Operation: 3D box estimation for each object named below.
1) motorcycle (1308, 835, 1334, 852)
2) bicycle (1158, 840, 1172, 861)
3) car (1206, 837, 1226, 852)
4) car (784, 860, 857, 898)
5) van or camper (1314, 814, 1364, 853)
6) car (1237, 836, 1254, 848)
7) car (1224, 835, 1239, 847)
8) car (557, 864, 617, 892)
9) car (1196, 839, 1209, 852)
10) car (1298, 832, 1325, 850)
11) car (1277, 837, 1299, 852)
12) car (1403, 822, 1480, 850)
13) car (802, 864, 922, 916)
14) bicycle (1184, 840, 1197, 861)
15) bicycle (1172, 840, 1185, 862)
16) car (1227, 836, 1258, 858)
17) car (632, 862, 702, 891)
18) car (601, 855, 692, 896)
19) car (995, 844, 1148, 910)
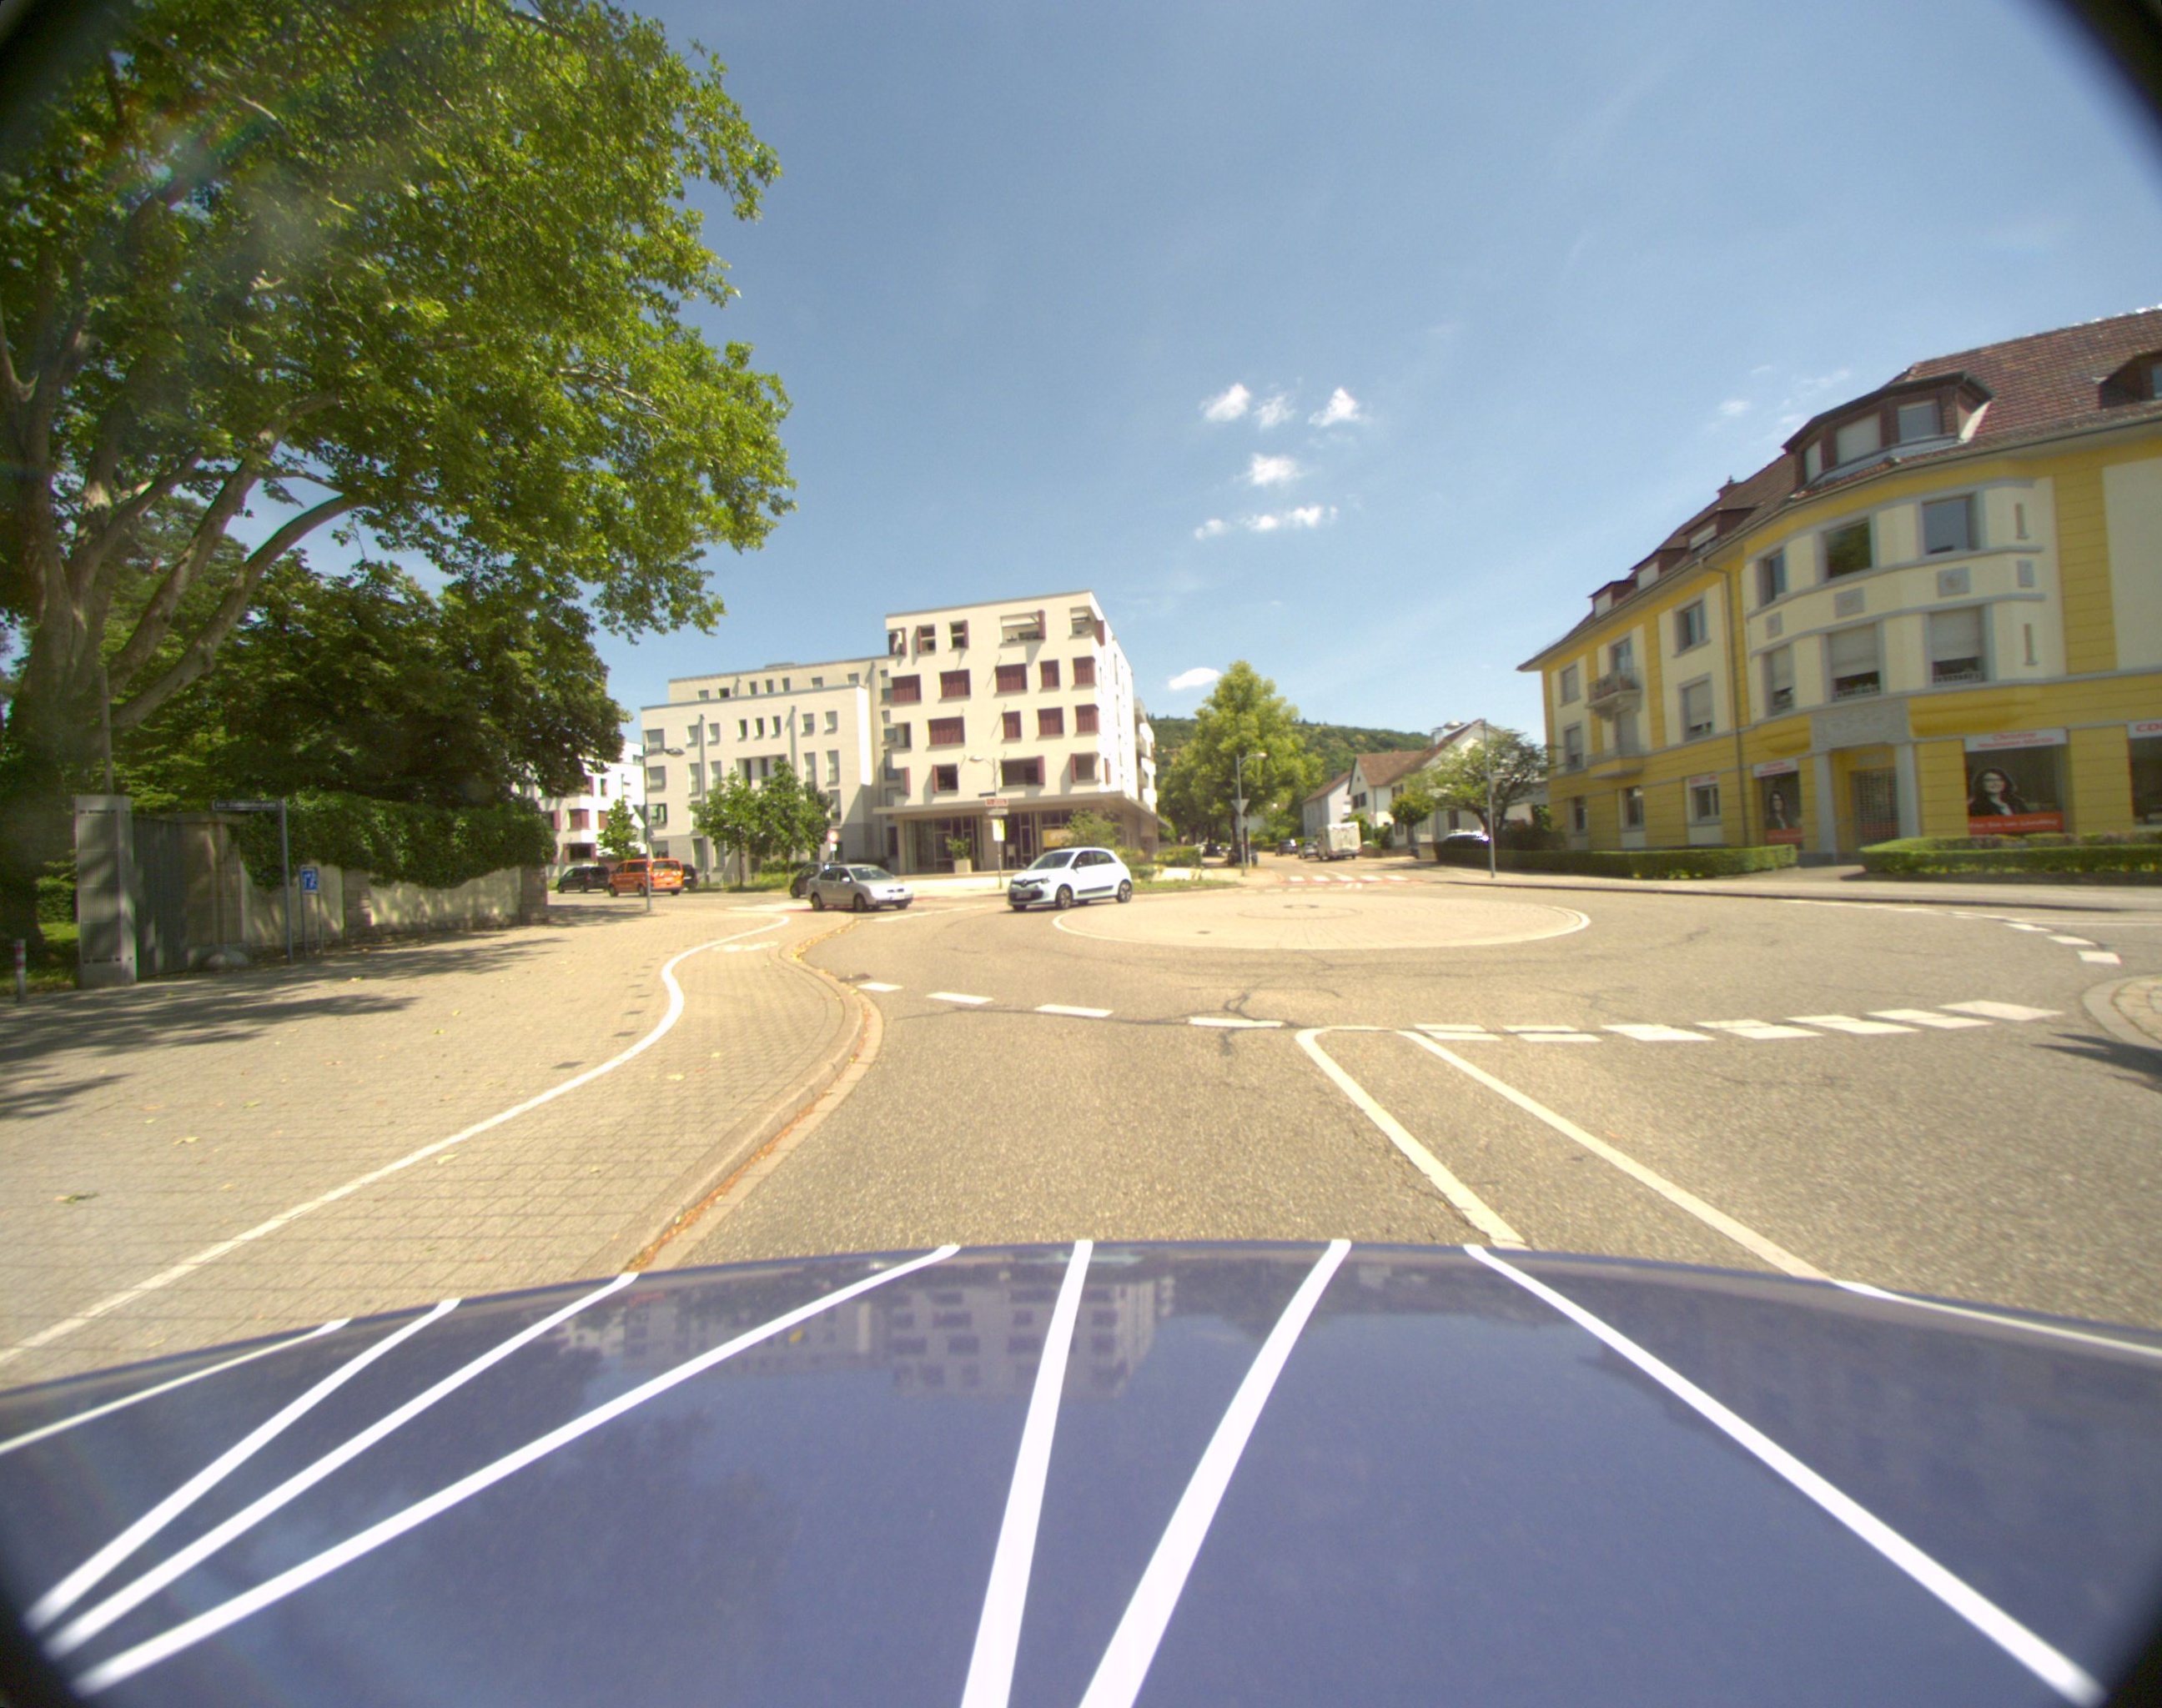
[{"bbox_3d":[19.800,-0.838,62.662,2.237,1.312,0.738,-3,1,-35],"label":"motorcycle"},{"bbox_3d":[5.669,-0.235,51.088,0.569,1.370,1.749,-2,1,16],"label":"bicycle"},{"bbox_3d":[16.154,-1.136,91.123,1.997,1.657,4.000,-2,2,6],"label":"car"},{"bbox_3d":[-11.120,1.058,32.432,2.781,1.521,1.573,-2,1,36],"label":"car"},{"bbox_3d":[19.307,-1.491,57.063,2.272,2.623,5.888,-5,0,8],"label":"van or camper"},{"bbox_3d":[24.195,-1.784,111.713,1.997,1.657,4.000,-2,2,6],"label":"car"},{"bbox_3d":[24.450,-2.122,123.168,1.997,1.657,4.000,-2,2,6],"label":"car"},{"bbox_3d":[-32.439,1.578,49.846,3.618,1.690,1.702,-2,1,28],"label":"car"},{"bbox_3d":[17.338,-1.255,108.886,1.765,1.740,4.002,-2,1,9],"label":"car"},{"bbox_3d":[20.289,-1.118,67.005,1.754,1.496,3.994,-2,0,9],"label":"car"},{"bbox_3d":[22.281,-1.065,81.848,1.754,1.496,3.994,-2,0,9],"label":"car"},{"bbox_3d":[22.495,-1.116,47.481,3.991,1.577,1.755,-3,1,-6],"label":"car"},{"bbox_3d":[-6.963,1.090,23.958,3.989,1.443,1.611,-1,1,40],"label":"car"},{"bbox_3d":[7.324,-0.246,50.577,0.569,1.370,1.749,-2,1,16],"label":"bicycle"},{"bbox_3d":[6.535,-0.207,50.815,0.569,1.370,1.749,-2,1,16],"label":"bicycle"},{"bbox_3d":[11.456,-0.500,53.942,1.754,1.496,3.994,-2,0,7],"label":"car"},{"bbox_3d":[-24.708,1.351,45.333,4.010,1.628,1.702,-2,1,28],"label":"car"},{"bbox_3d":[-23.017,1.146,40.215,5.007,1.948,1.953,-2,2,33],"label":"car"},{"bbox_3d":[-0.149,0.558,20.130,1.656,1.516,4.170,-3,-1,40],"label":"car"}]
